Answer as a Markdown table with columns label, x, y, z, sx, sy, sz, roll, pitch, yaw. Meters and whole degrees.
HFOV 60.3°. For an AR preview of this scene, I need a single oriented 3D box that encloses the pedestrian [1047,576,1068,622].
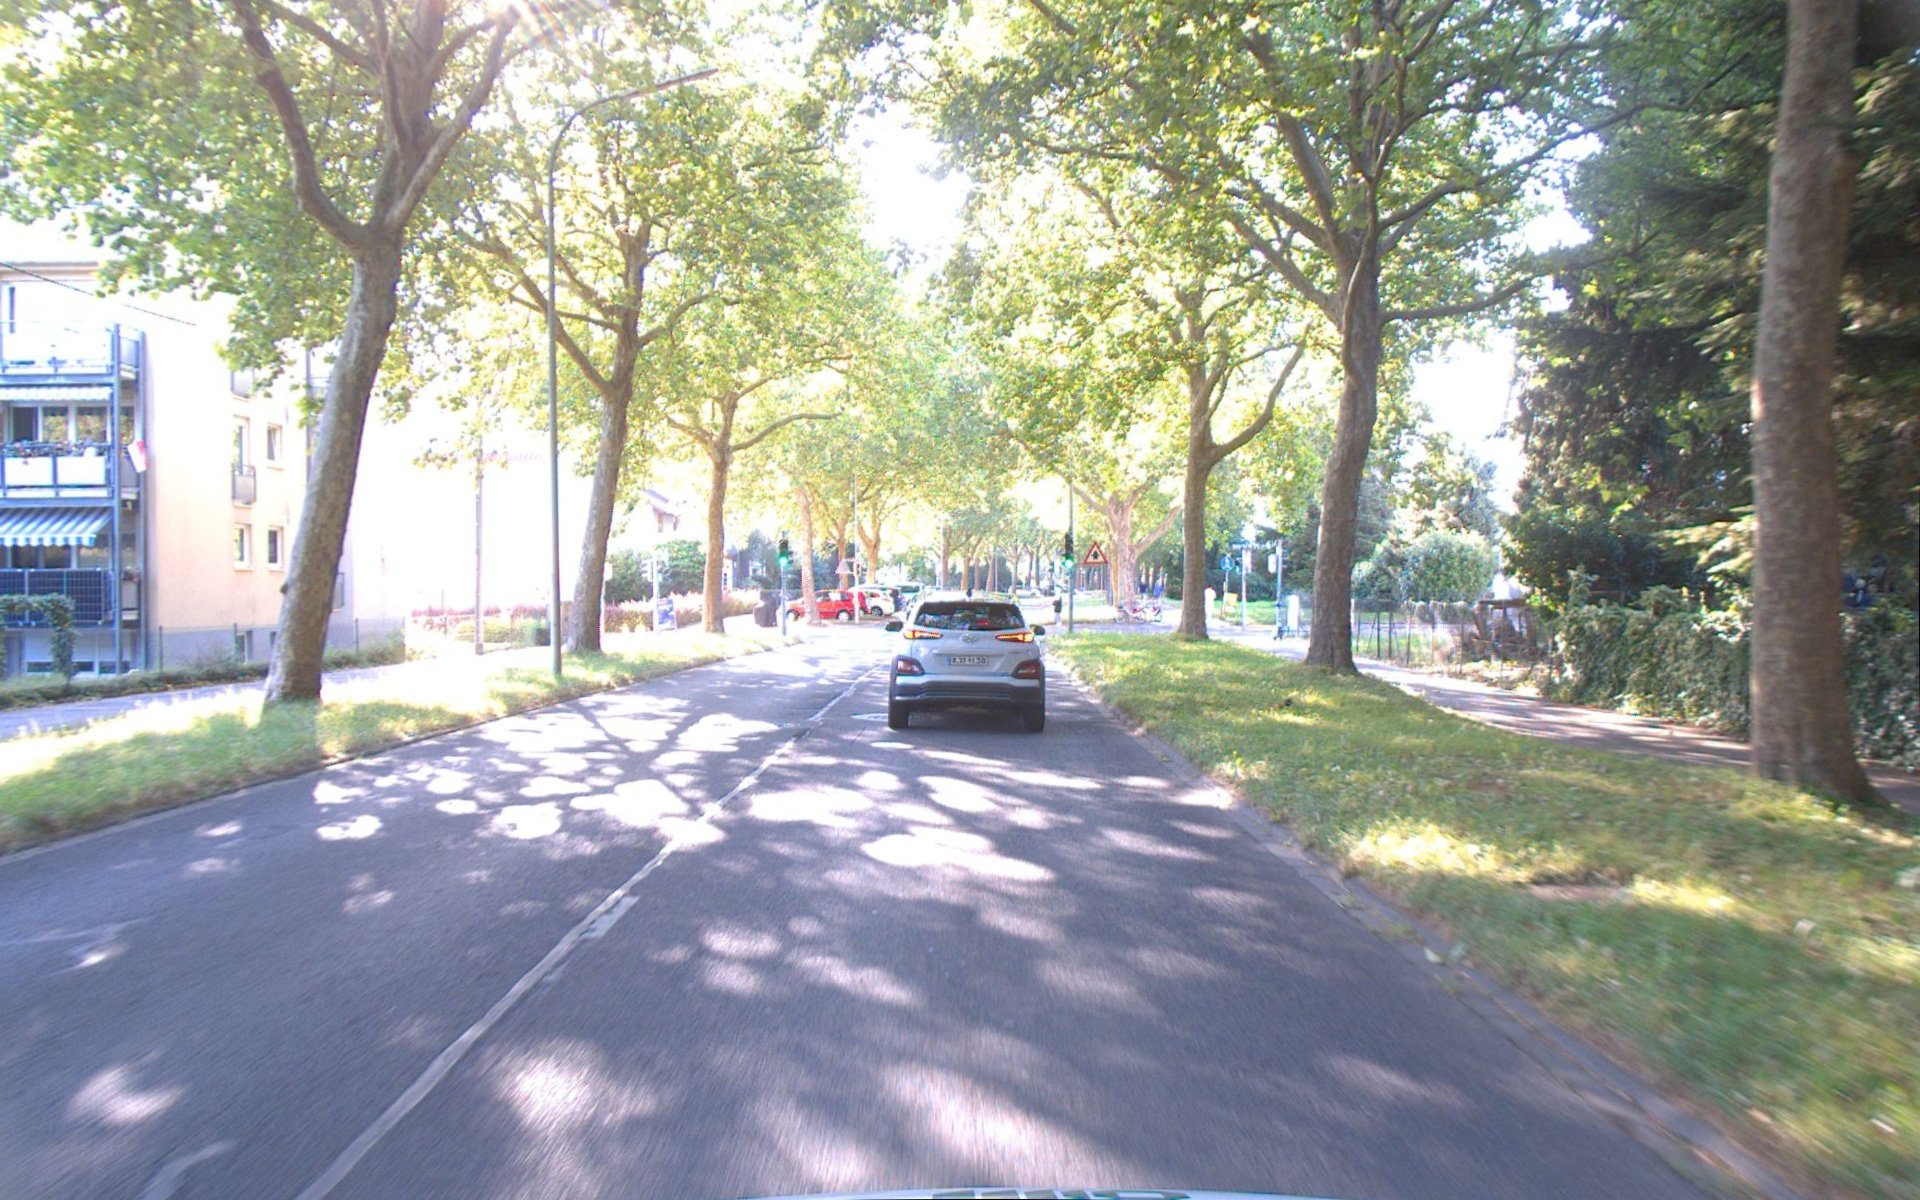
| label | x | y | z | sx | sy | sz | roll | pitch | yaw |
| --- | --- | --- | --- | --- | --- | --- | --- | --- | --- |
| pedestrian | 4.426 | -0.035 | 74.787 | 0.849 | 2.049 | 0.814 | 1 | 0 | 9 |

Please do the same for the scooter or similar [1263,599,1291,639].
| label | x | y | z | sx | sy | sz | roll | pitch | yaw |
| --- | --- | --- | --- | --- | --- | --- | --- | --- | --- |
| scooter or similar | 10.445 | 0.613 | 54.608 | 0.538 | 1.280 | 2.313 | 1 | 0 | 2 |

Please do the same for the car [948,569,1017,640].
| label | x | y | z | sx | sy | sz | roll | pitch | yaw |
| --- | --- | --- | --- | --- | --- | --- | --- | --- | --- |
| car | 0.642 | 0.135 | 49.831 | 1.953 | 2.049 | 3.999 | 1 | 0 | -1 |

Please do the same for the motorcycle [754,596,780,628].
| label | x | y | z | sx | sy | sz | roll | pitch | yaw |
| --- | --- | --- | --- | --- | --- | --- | --- | --- | --- |
| motorcycle | -8.746 | 0.527 | 75.177 | 0.828 | 1.403 | 2.776 | 1 | 0 | 0 |

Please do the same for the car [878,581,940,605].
| label | x | y | z | sx | sy | sz | roll | pitch | yaw |
| --- | --- | --- | --- | --- | --- | --- | --- | --- | --- |
| car | -3.354 | -0.481 | 109.311 | 3.904 | 1.504 | 2.000 | 1 | 0 | 1 |

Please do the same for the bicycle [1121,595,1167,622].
| label | x | y | z | sx | sy | sz | roll | pitch | yaw |
| --- | --- | --- | --- | --- | --- | --- | --- | --- | --- |
| bicycle | 8.085 | 0.359 | 72.693 | 0.600 | 1.184 | 2.117 | 1 | 0 | -42 |

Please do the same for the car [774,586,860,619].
| label | x | y | z | sx | sy | sz | roll | pitch | yaw |
| --- | --- | --- | --- | --- | --- | --- | --- | --- | --- |
| car | -6.856 | 0.119 | 79.752 | 3.904 | 1.504 | 2.000 | 1 | 0 | 1 |

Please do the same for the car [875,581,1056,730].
| label | x | y | z | sx | sy | sz | roll | pitch | yaw |
| --- | --- | --- | --- | --- | --- | --- | --- | --- | --- |
| car | 0.074 | 0.610 | 20.062 | 1.952 | 1.602 | 4.000 | 1 | 0 | 0 |

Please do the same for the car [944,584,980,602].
| label | x | y | z | sx | sy | sz | roll | pitch | yaw |
| --- | --- | --- | --- | --- | --- | --- | --- | --- | --- |
| car | 0.208 | -0.704 | 171.226 | 3.600 | 1.840 | 1.746 | 1 | 0 | -8 |

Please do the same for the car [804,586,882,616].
| label | x | y | z | sx | sy | sz | roll | pitch | yaw |
| --- | --- | --- | --- | --- | --- | --- | --- | --- | --- |
| car | -6.156 | 0.062 | 87.268 | 3.904 | 1.504 | 2.000 | 1 | 0 | 1 |

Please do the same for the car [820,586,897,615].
| label | x | y | z | sx | sy | sz | roll | pitch | yaw |
| --- | --- | --- | --- | --- | --- | --- | --- | --- | --- |
| car | -5.480 | 0.041 | 89.601 | 3.903 | 1.504 | 2.001 | 1 | 0 | 3 |

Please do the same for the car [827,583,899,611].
| label | x | y | z | sx | sy | sz | roll | pitch | yaw |
| --- | --- | --- | --- | --- | --- | --- | --- | --- | --- |
| car | -5.455 | -0.165 | 93.636 | 3.904 | 1.504 | 2.000 | 1 | 0 | 1 |

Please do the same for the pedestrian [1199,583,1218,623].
| label | x | y | z | sx | sy | sz | roll | pitch | yaw |
| --- | --- | --- | --- | --- | --- | --- | --- | --- | --- |
| pedestrian | 11.189 | 0.145 | 74.314 | 0.816 | 1.766 | 0.886 | 1 | 0 | 9 |

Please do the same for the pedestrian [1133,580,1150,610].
| label | x | y | z | sx | sy | sz | roll | pitch | yaw |
| --- | --- | --- | --- | --- | --- | --- | --- | --- | --- |
| pedestrian | 12.373 | -0.328 | 112.642 | 1.071 | 2.049 | 1.106 | 0 | 0 | 7 |

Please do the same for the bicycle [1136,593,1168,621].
| label | x | y | z | sx | sy | sz | roll | pitch | yaw |
| --- | --- | --- | --- | --- | --- | --- | --- | --- | --- |
| bicycle | 8.581 | 0.315 | 73.927 | 0.594 | 1.204 | 2.108 | 1 | 0 | -18 |

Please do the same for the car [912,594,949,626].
| label | x | y | z | sx | sy | sz | roll | pitch | yaw |
| --- | --- | --- | --- | --- | --- | --- | --- | --- | --- |
| car | -1.439 | 0.471 | 81.471 | 1.653 | 1.462 | 3.683 | 1 | 1 | 1 |
